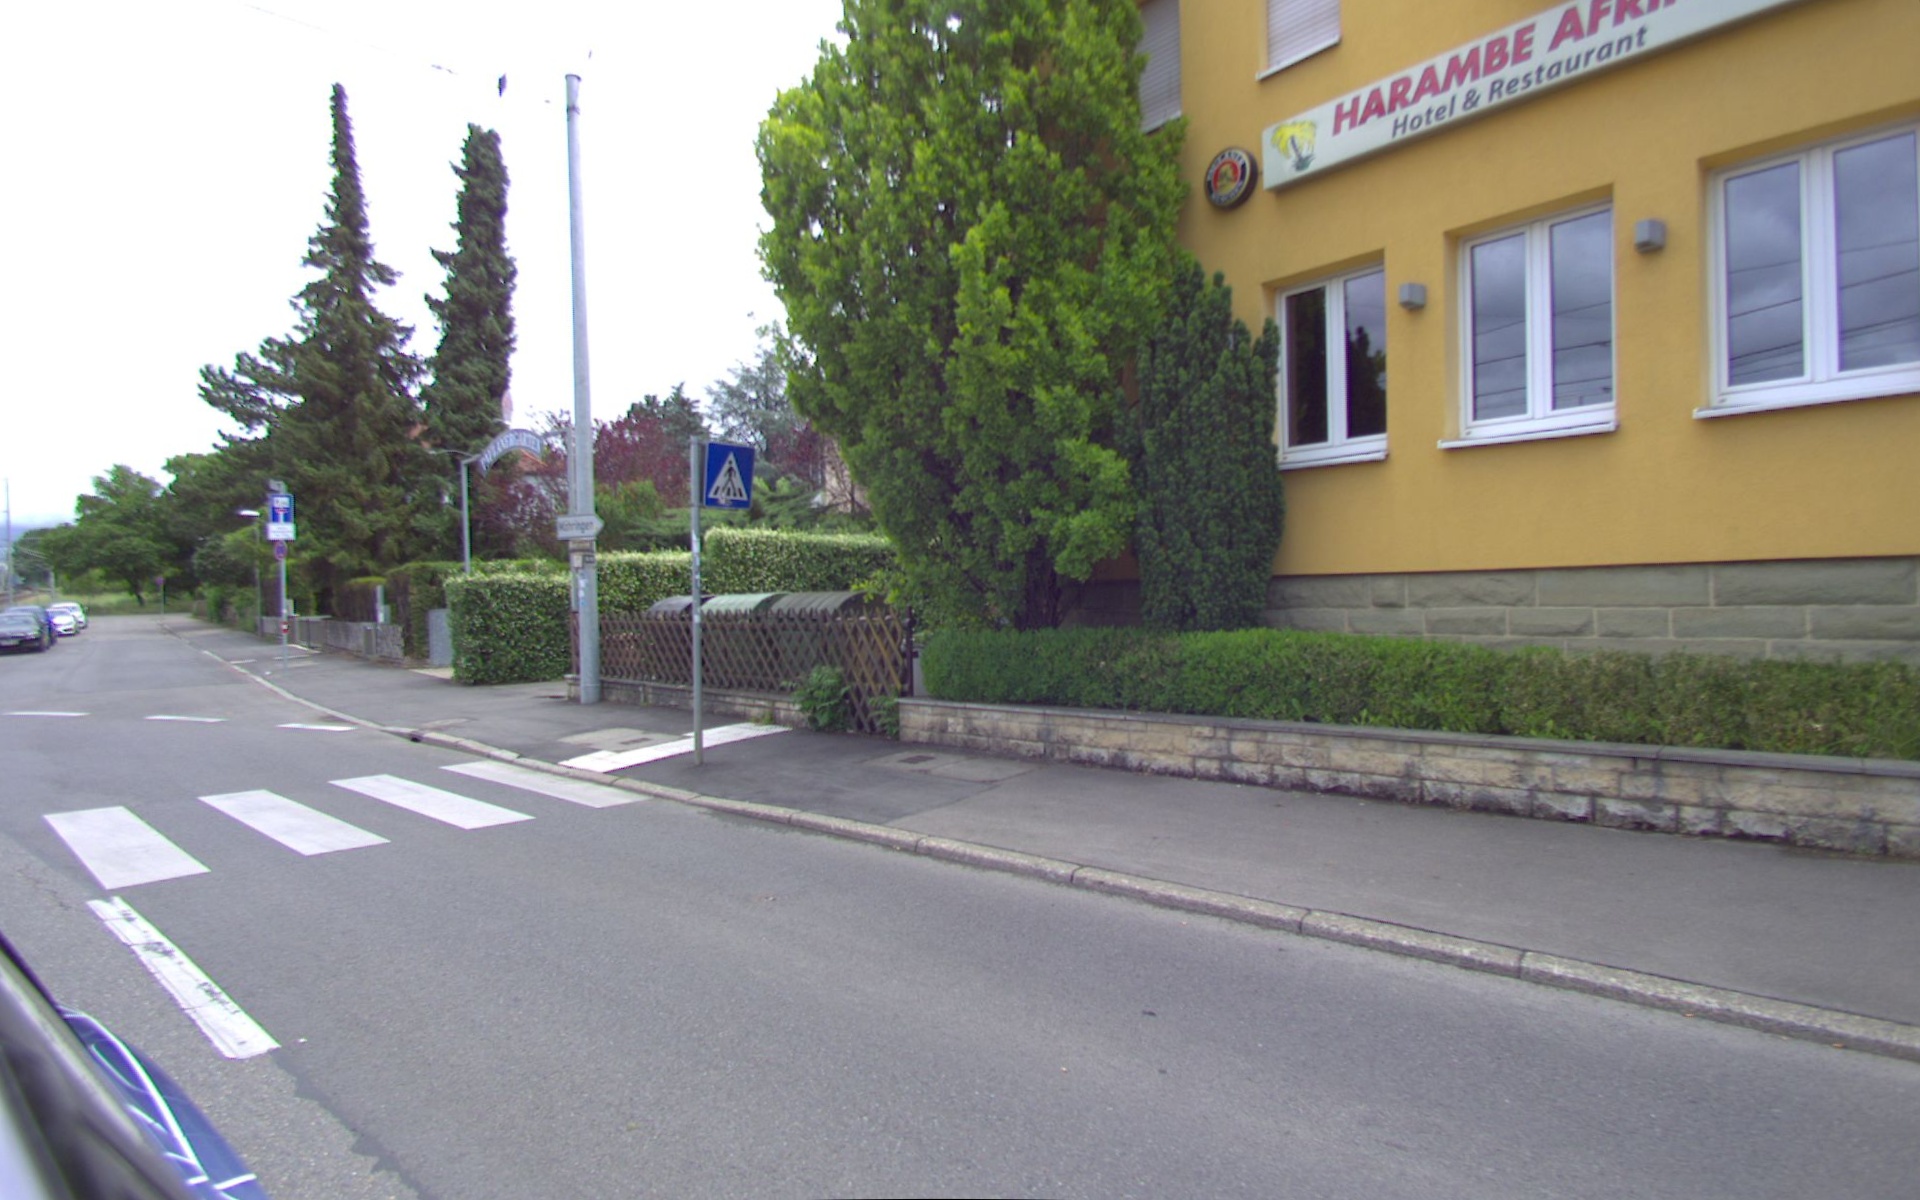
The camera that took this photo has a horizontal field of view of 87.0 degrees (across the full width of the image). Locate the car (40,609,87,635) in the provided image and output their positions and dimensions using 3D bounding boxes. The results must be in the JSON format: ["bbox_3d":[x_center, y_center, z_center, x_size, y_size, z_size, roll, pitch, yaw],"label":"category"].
[{"bbox_3d":[-52.136,1.263,58.908,1.825,1.386,4.007,-3,1,-39],"label":"car"}]

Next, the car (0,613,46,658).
[{"bbox_3d":[-34.526,1.265,36.837,1.794,1.513,4.125,-3,1,-42],"label":"car"}]

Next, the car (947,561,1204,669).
[{"bbox_3d":[1.758,0.255,16.022,3.679,1.438,1.703,-3,2,42],"label":"car"}]

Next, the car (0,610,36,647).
[{"bbox_3d":[-40.205,1.185,42.507,1.825,1.492,4.007,-3,1,-39],"label":"car"}]

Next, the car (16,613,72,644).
[{"bbox_3d":[-45.394,1.375,50.225,1.825,1.386,4.007,-3,1,-39],"label":"car"}]
